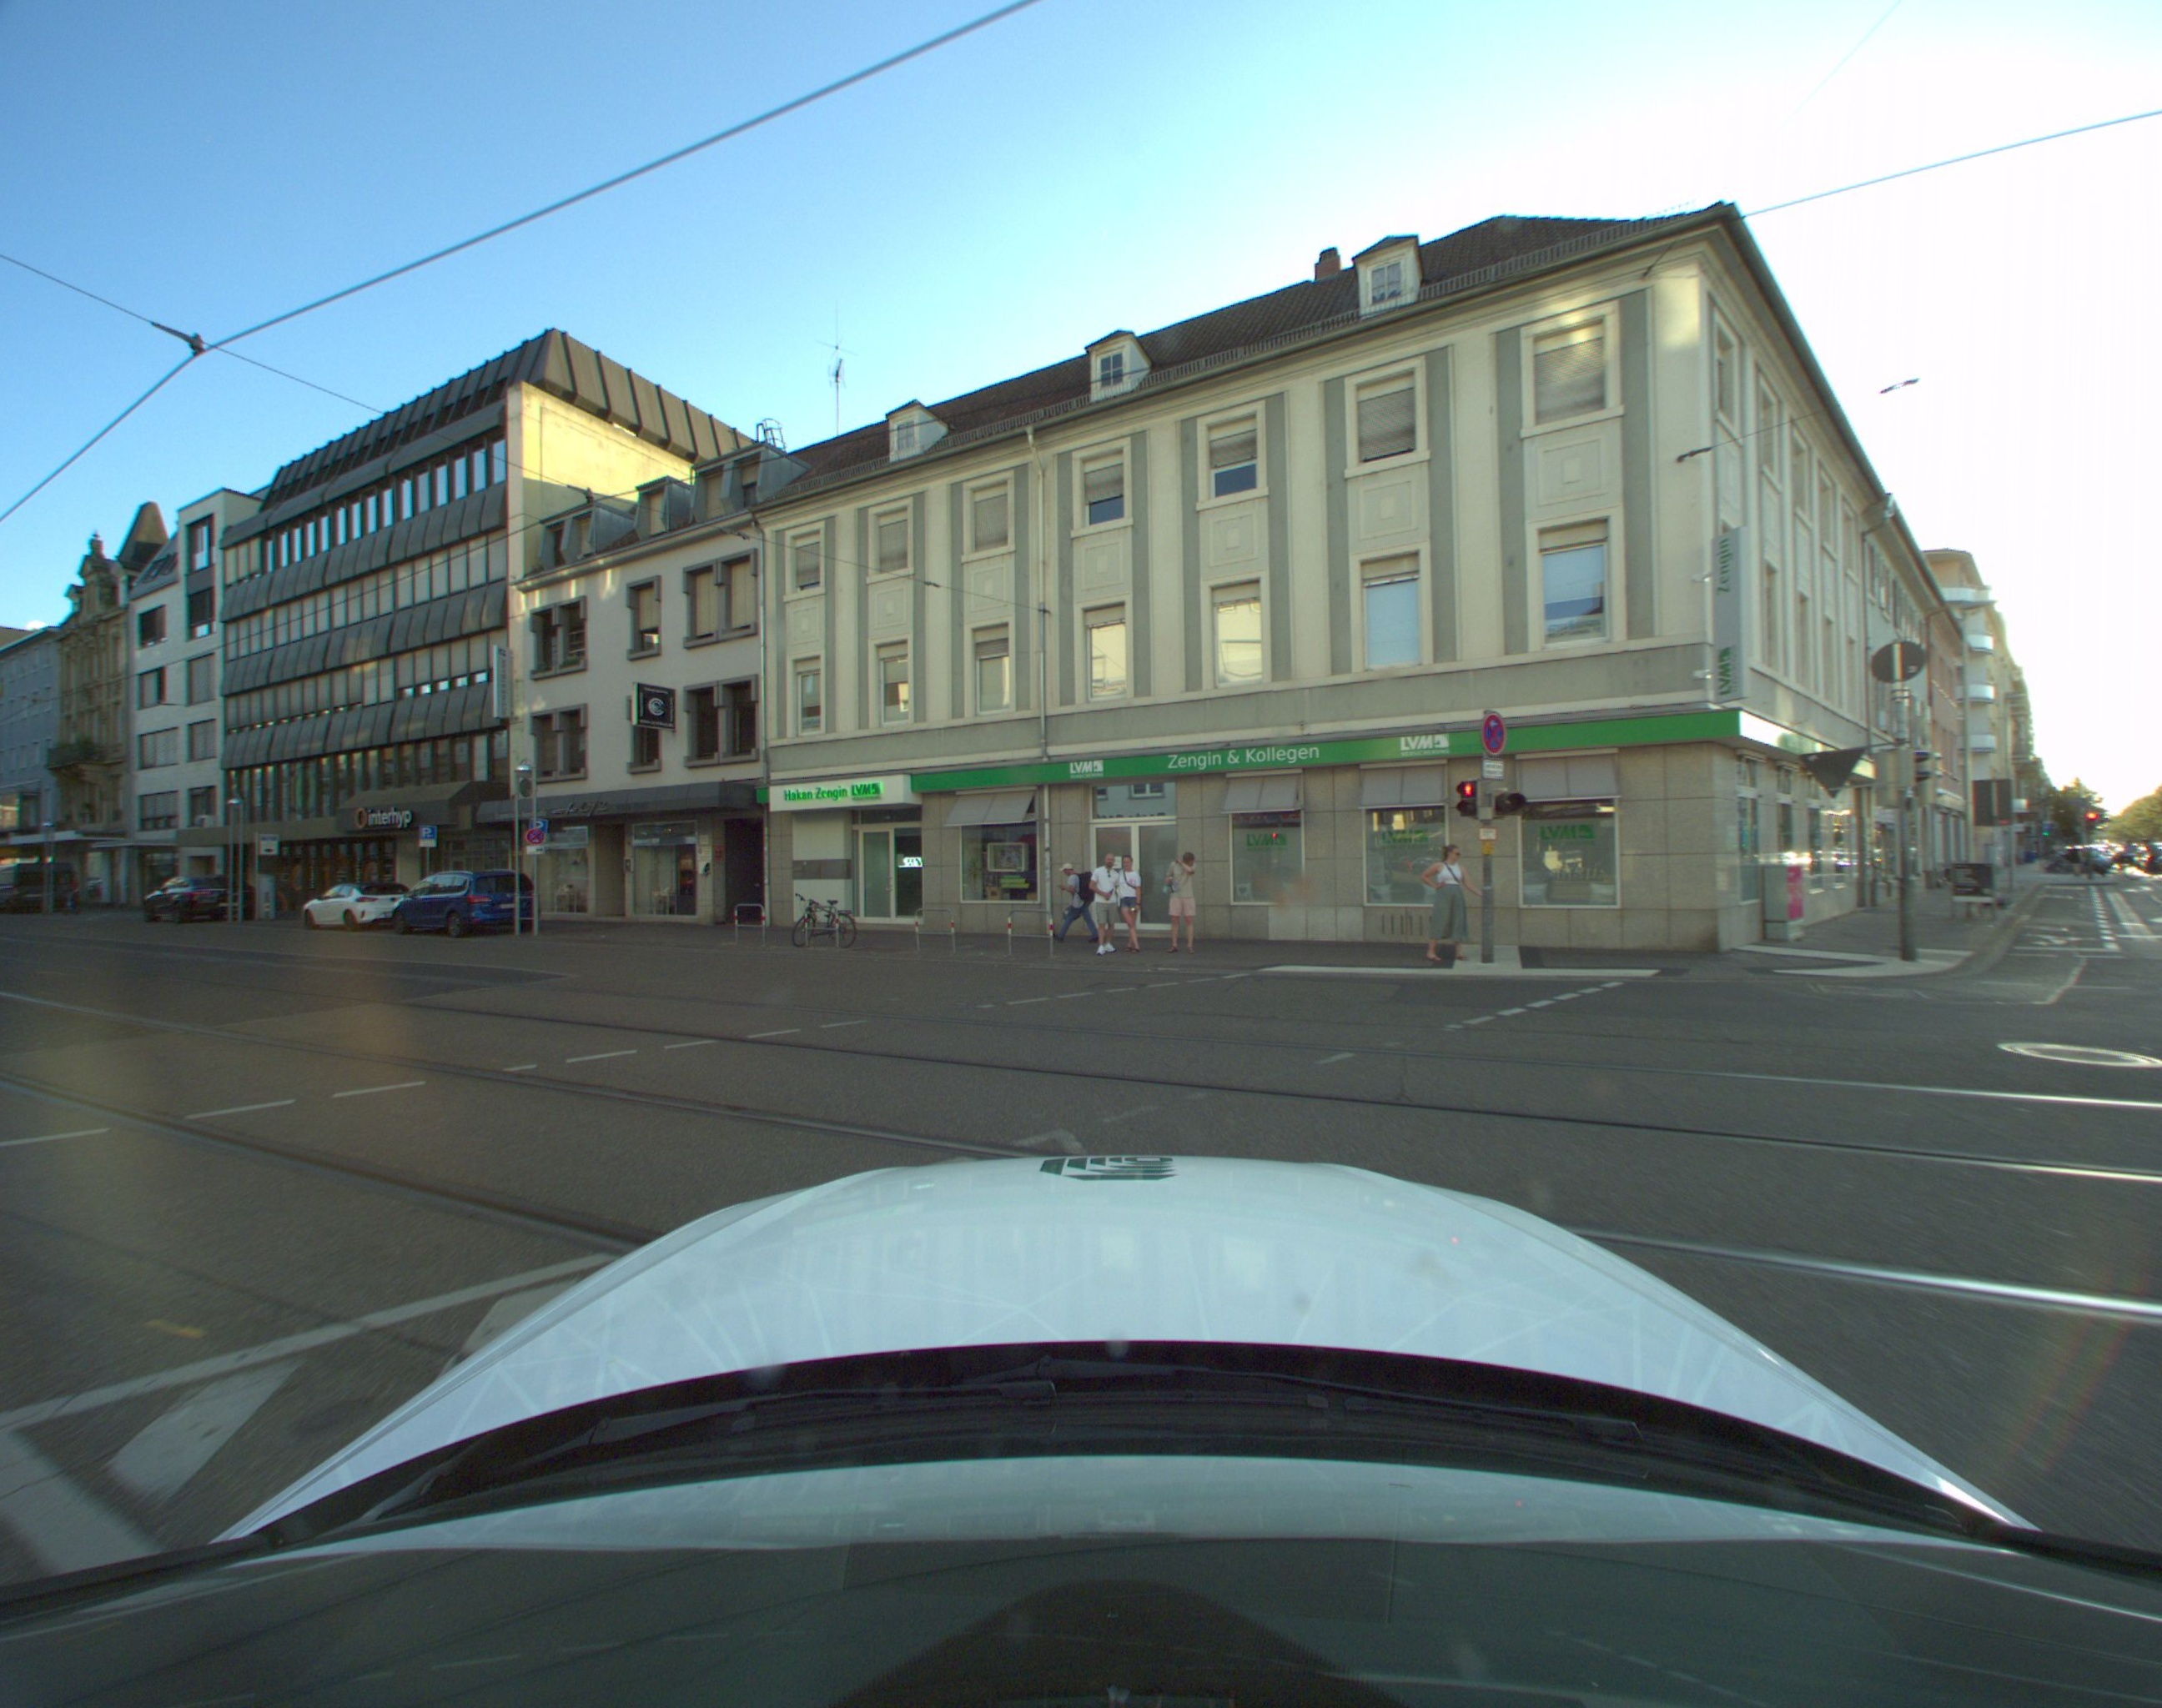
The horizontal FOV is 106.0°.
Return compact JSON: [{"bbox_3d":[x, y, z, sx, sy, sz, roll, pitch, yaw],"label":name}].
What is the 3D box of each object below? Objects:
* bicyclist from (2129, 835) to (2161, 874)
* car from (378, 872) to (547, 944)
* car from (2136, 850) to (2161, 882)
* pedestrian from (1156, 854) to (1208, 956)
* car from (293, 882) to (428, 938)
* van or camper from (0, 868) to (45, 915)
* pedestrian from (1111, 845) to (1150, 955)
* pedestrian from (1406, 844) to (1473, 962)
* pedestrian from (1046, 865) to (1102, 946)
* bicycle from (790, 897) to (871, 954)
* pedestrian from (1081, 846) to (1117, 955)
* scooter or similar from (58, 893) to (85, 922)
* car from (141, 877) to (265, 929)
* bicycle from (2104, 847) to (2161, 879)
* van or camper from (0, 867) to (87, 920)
[{"bbox_3d":[47.442,0.026,36.304,0.680,1.707,0.666,-1,-1,-16],"label":"bicyclist"},{"bbox_3d":[-17.135,1.432,22.541,4.505,1.717,1.933,-1,1,28],"label":"car"},{"bbox_3d":[58.624,0.606,43.700,5.559,1.678,2.284,0,-1,-39],"label":"car"},{"bbox_3d":[1.780,0.883,14.342,0.690,1.745,0.644,-2,-1,29],"label":"pedestrian"},{"bbox_3d":[-22.254,1.687,25.151,3.823,1.485,1.782,-1,1,27],"label":"car"},{"bbox_3d":[-58.748,2.039,44.030,5.449,2.426,2.209,-1,1,26],"label":"van or camper"},{"bbox_3d":[0.899,0.819,14.722,0.524,1.929,0.642,-1,-1,16],"label":"pedestrian"},{"bbox_3d":[5.593,0.744,12.719,0.673,1.778,0.642,0,-1,-26],"label":"pedestrian"},{"bbox_3d":[-0.131,1.010,16.237,0.859,1.548,0.704,-2,-1,29],"label":"pedestrian"},{"bbox_3d":[-5.130,1.450,16.658,1.628,1.090,0.482,-2,0,24],"label":"bicycle"},{"bbox_3d":[0.331,0.827,14.800,0.491,1.929,0.578,-1,-1,17],"label":"pedestrian"},{"bbox_3d":[-46.225,2.449,37.308,0.356,1.224,1.105,-2,1,-30],"label":"scooter or similar"},{"bbox_3d":[-33.033,1.801,30.632,4.611,1.734,2.003,-1,1,28],"label":"car"},{"bbox_3d":[47.457,0.402,36.289,0.680,1.402,2.218,-1,-1,-15],"label":"bicycle"},{"bbox_3d":[-53.250,1.960,41.310,6.055,2.426,2.209,-1,1,27],"label":"van or camper"}]
